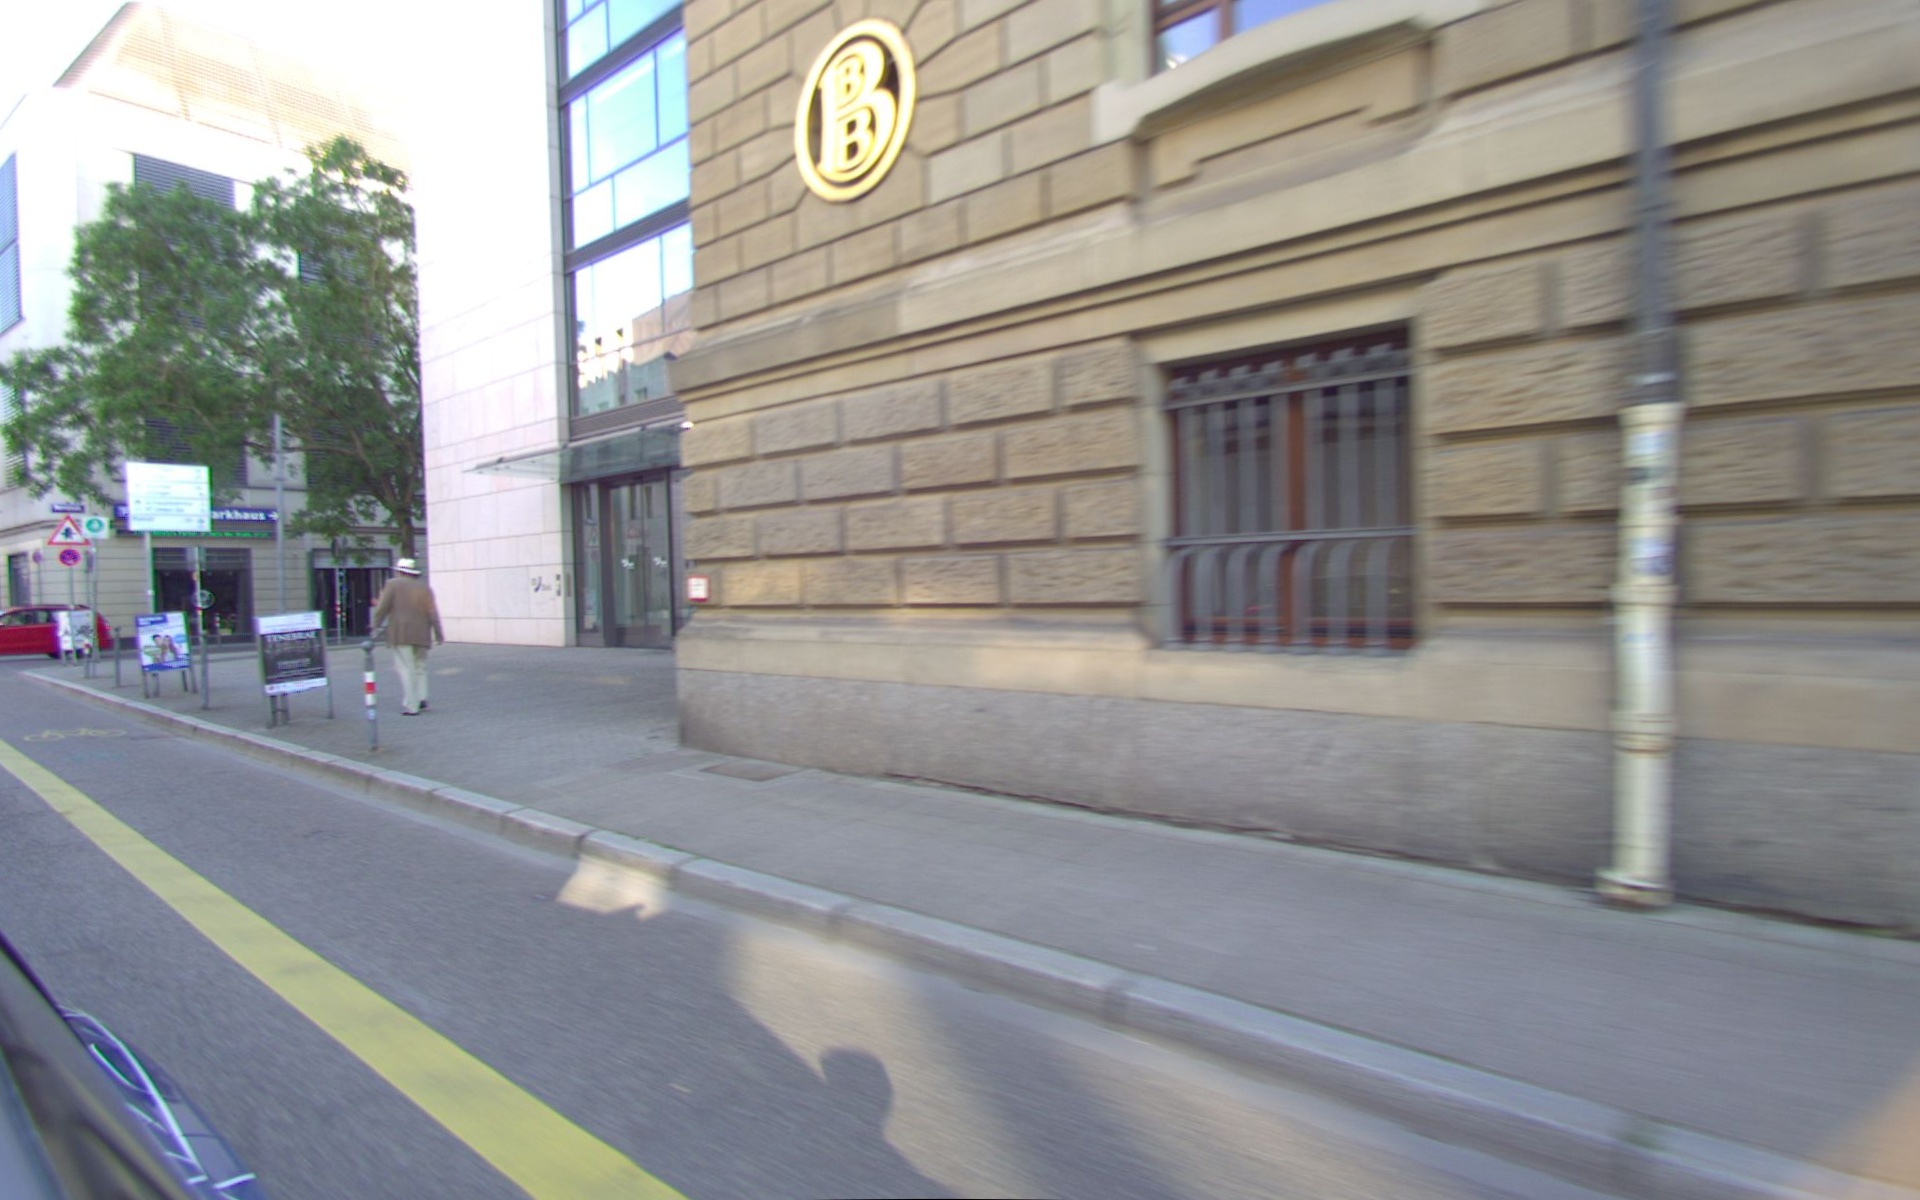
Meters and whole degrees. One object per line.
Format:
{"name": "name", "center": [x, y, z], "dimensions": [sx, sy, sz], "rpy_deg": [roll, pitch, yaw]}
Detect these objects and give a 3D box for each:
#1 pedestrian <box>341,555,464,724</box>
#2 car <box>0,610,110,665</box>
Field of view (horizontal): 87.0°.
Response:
{"name": "pedestrian", "center": [-6.474, 0.425, 11.755], "dimensions": [1.074, 1.813, 0.832], "rpy_deg": [0, 5, 44]}
{"name": "car", "center": [-26.423, 1.021, 27.896], "dimensions": [1.820, 1.476, 4.222], "rpy_deg": [-1, -1, 29]}
